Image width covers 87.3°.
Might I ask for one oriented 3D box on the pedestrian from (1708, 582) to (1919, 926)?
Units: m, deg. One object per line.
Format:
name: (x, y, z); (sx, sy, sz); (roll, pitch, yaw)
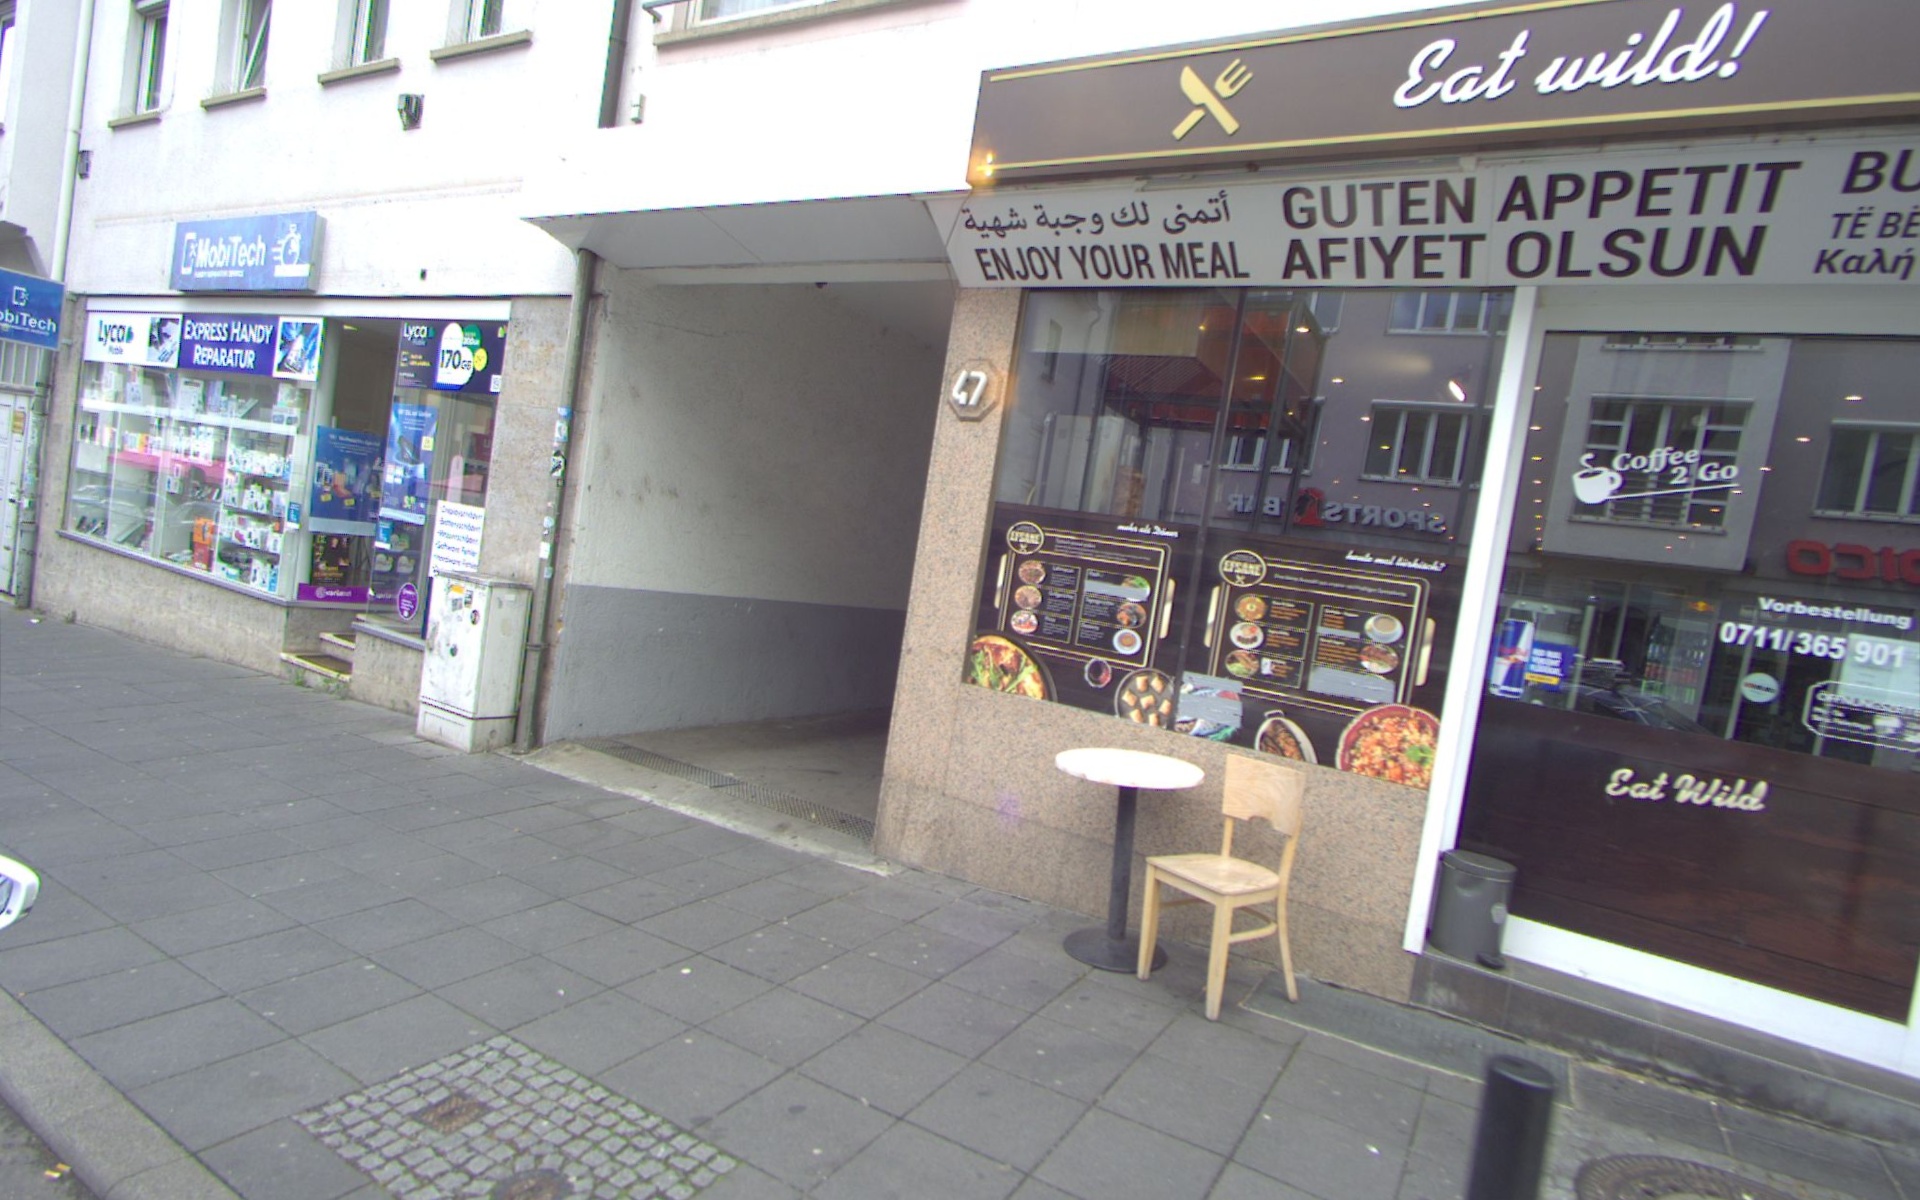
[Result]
pedestrian: (4.821, 0.822, 5.644); (0.595, 1.747, 0.628); (7, 0, 8)
